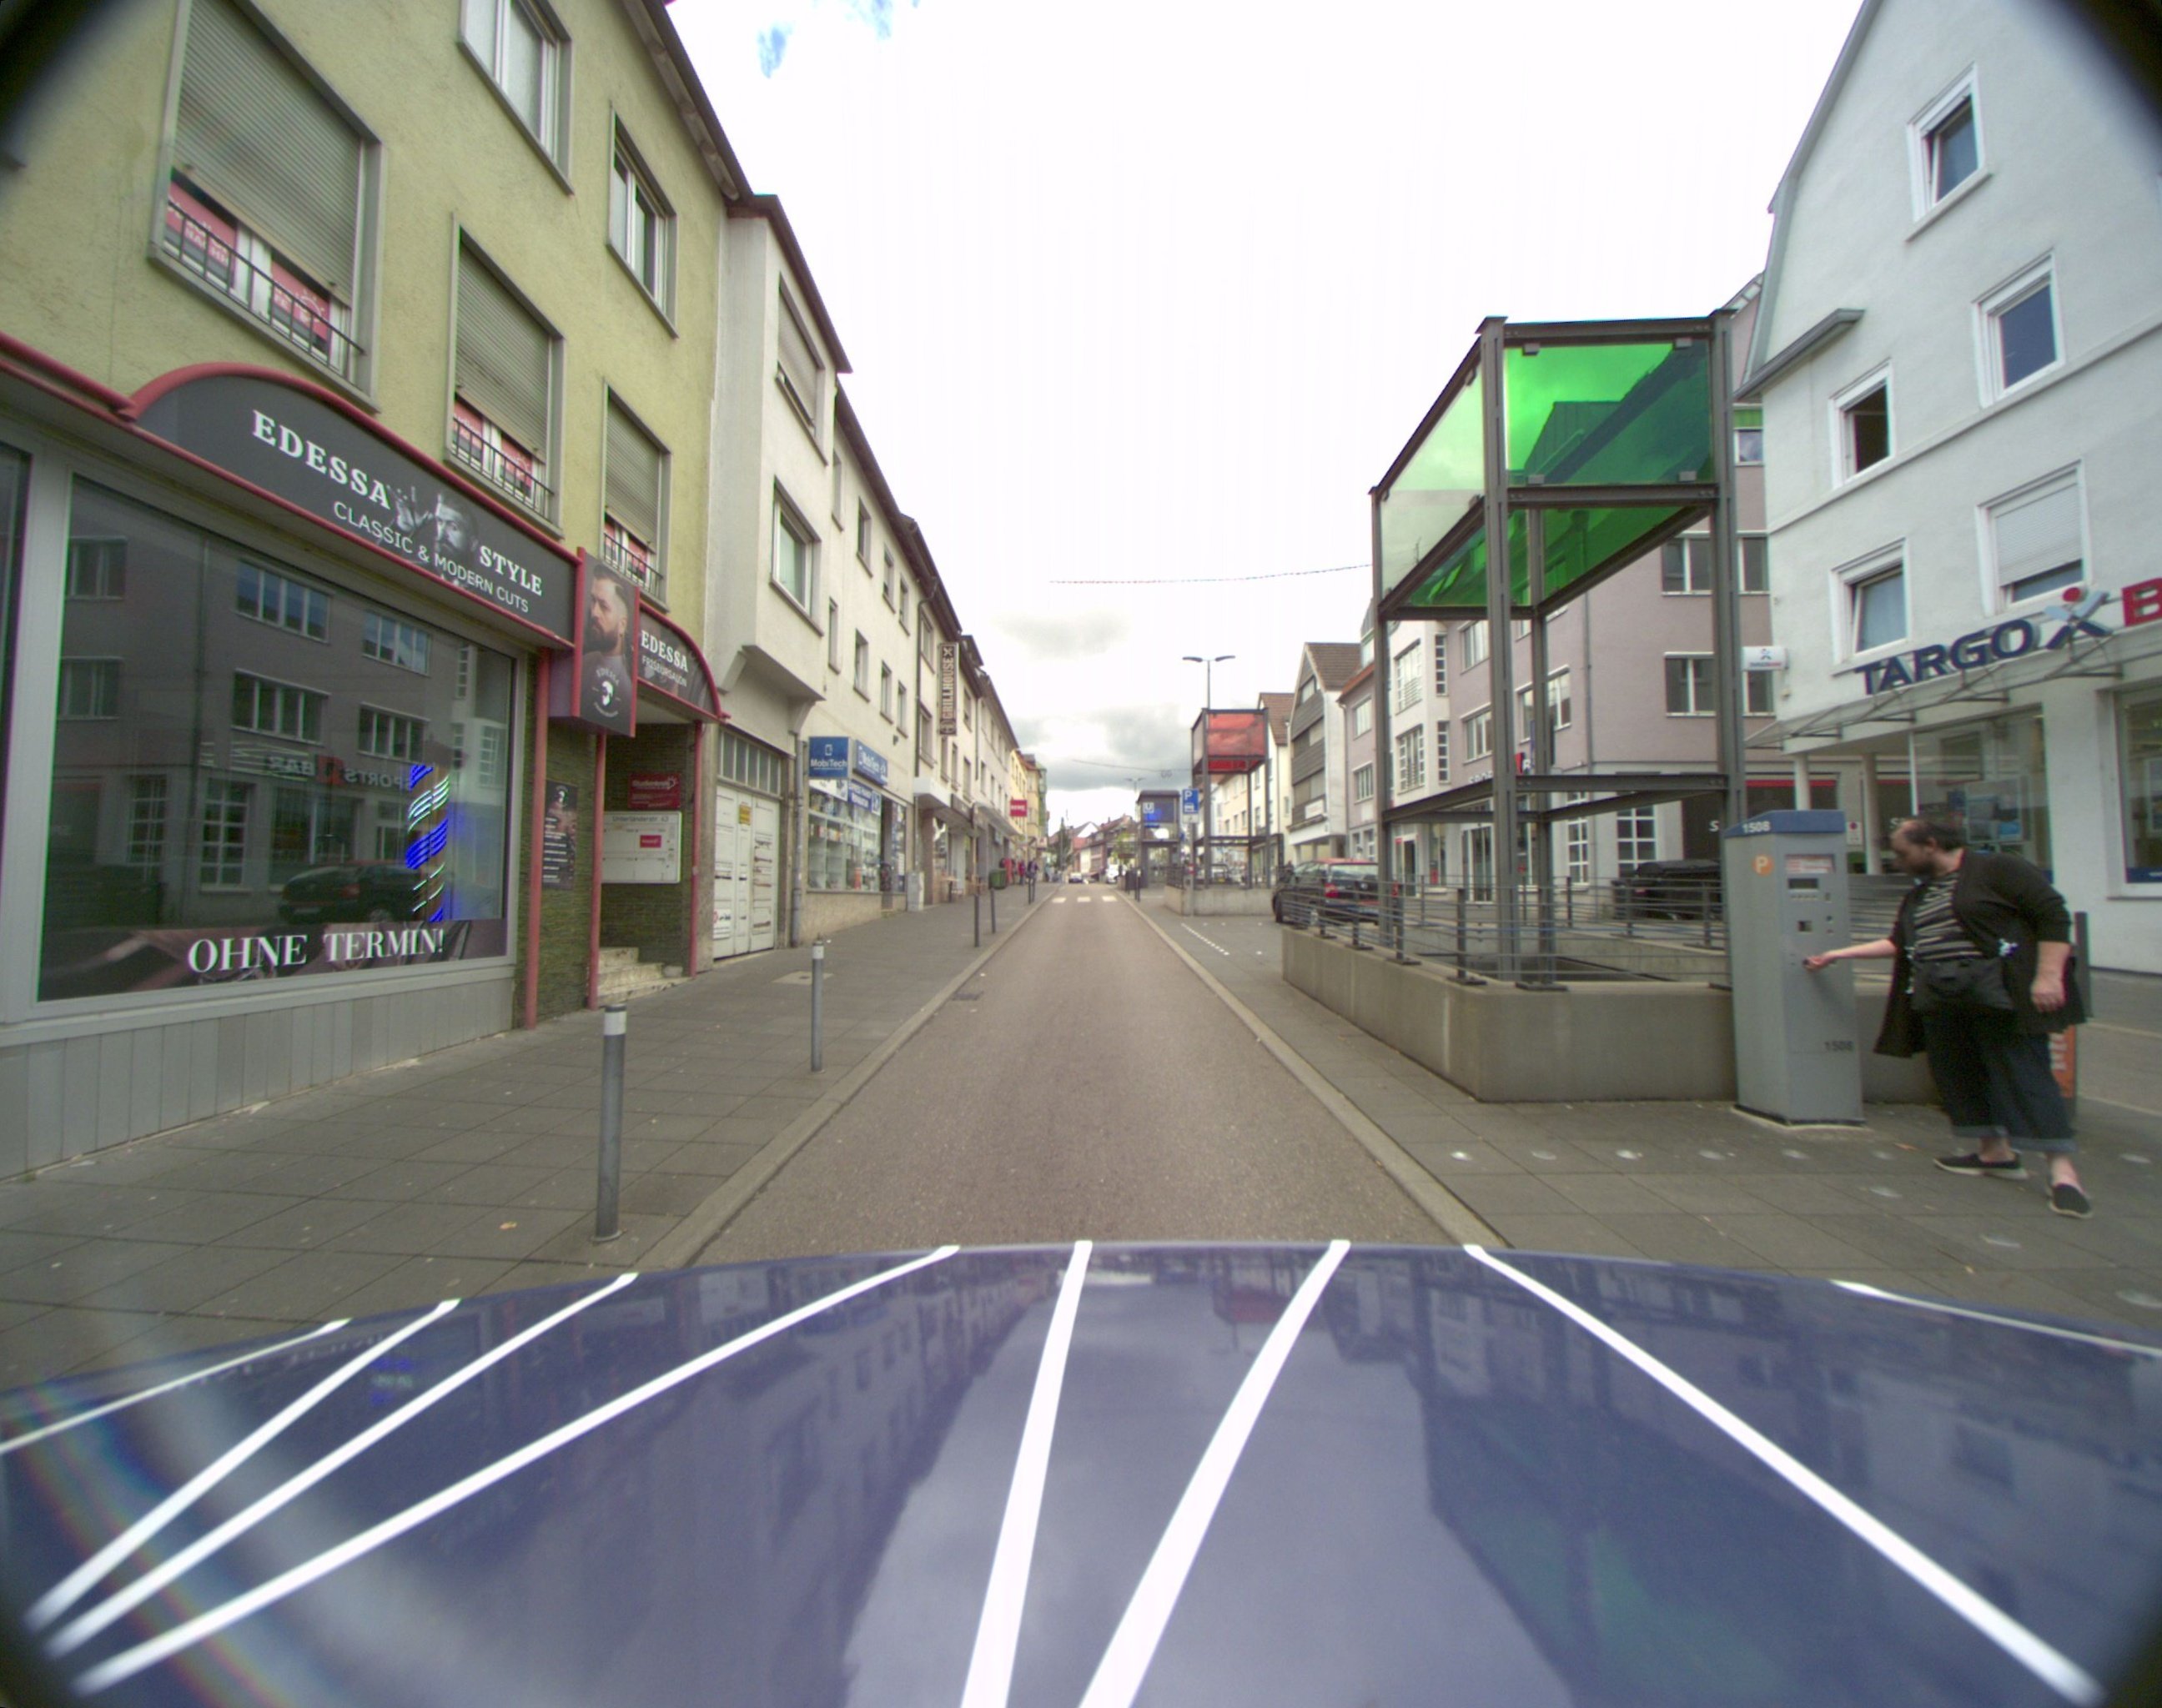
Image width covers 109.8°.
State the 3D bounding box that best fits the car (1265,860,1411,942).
[{"bbox_3d":[5.193,0.890,15.904,1.573,1.466,3.854,0,0,-3],"label":"car"}]

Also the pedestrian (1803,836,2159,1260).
[{"bbox_3d":[3.967,0.769,3.441,0.535,1.662,0.901,-1,0,3],"label":"pedestrian"}]

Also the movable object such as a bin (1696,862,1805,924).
[{"bbox_3d":[15.466,0.877,17.610,1.286,1.368,1.407,-1,0,0],"label":"movable object such as a bin"}]

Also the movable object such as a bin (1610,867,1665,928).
[{"bbox_3d":[12.984,1.001,17.737,0.691,1.368,0.808,-1,0,0],"label":"movable object such as a bin"}]

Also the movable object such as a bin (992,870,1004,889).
[{"bbox_3d":[-4.221,1.286,38.522,0.568,0.951,0.498,0,0,0],"label":"movable object such as a bin"}]

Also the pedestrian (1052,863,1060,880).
[{"bbox_3d":[-2.366,1.644,72.820,0.657,1.620,0.743,-2,1,-6],"label":"pedestrian"}]

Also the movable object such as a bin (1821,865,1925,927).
[{"bbox_3d":[18.197,0.942,17.493,1.286,1.368,1.044,-1,0,0],"label":"movable object such as a bin"}]

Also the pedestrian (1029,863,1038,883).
[{"bbox_3d":[-3.846,1.531,61.291,0.627,1.620,0.607,-2,1,-5],"label":"pedestrian"}]

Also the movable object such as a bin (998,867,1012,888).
[{"bbox_3d":[-3.976,1.237,39.857,0.652,1.074,0.673,0,0,0],"label":"movable object such as a bin"}]

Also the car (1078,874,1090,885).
[{"bbox_3d":[0.509,4.099,122.239,1.741,1.608,3.999,-2,0,-2],"label":"car"}]

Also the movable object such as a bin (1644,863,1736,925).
[{"bbox_3d":[14.148,0.917,17.701,1.286,1.368,1.067,-1,0,0],"label":"movable object such as a bin"}]

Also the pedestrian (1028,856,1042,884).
[{"bbox_3d":[-2.805,0.936,46.022,0.740,1.660,0.786,2,0,-9],"label":"pedestrian"}]

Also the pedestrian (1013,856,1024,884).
[{"bbox_3d":[-3.958,0.993,47.822,0.627,1.715,0.607,2,0,-5],"label":"pedestrian"}]

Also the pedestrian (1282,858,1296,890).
[{"bbox_3d":[11.469,1.097,41.908,0.592,1.706,0.513,-2,1,0],"label":"pedestrian"}]

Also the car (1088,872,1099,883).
[{"bbox_3d":[2.112,4.010,130.036,1.741,1.608,3.999,-2,0,-2],"label":"car"}]

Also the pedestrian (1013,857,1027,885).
[{"bbox_3d":[-3.673,1.003,45.685,0.740,1.660,0.627,2,0,-9],"label":"pedestrian"}]

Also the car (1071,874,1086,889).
[{"bbox_3d":[-0.325,3.269,90.974,1.741,1.608,3.843,-2,0,0],"label":"car"}]

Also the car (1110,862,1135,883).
[{"bbox_3d":[3.151,1.383,58.465,1.754,1.452,3.601,-2,0,1],"label":"car"}]

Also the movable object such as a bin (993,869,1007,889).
[{"bbox_3d":[-4.167,1.268,39.134,0.670,1.024,0.560,0,0,0],"label":"movable object such as a bin"}]

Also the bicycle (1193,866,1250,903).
[{"bbox_3d":[4.629,1.006,25.051,1.782,1.216,0.459,0,1,0],"label":"bicycle"}]

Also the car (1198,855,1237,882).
[{"bbox_3d":[8.424,0.869,47.259,1.684,1.562,4.122,-2,0,0],"label":"car"}]

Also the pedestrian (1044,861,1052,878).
[{"bbox_3d":[-3.133,1.509,72.801,0.657,1.620,0.743,-2,1,-6],"label":"pedestrian"}]
